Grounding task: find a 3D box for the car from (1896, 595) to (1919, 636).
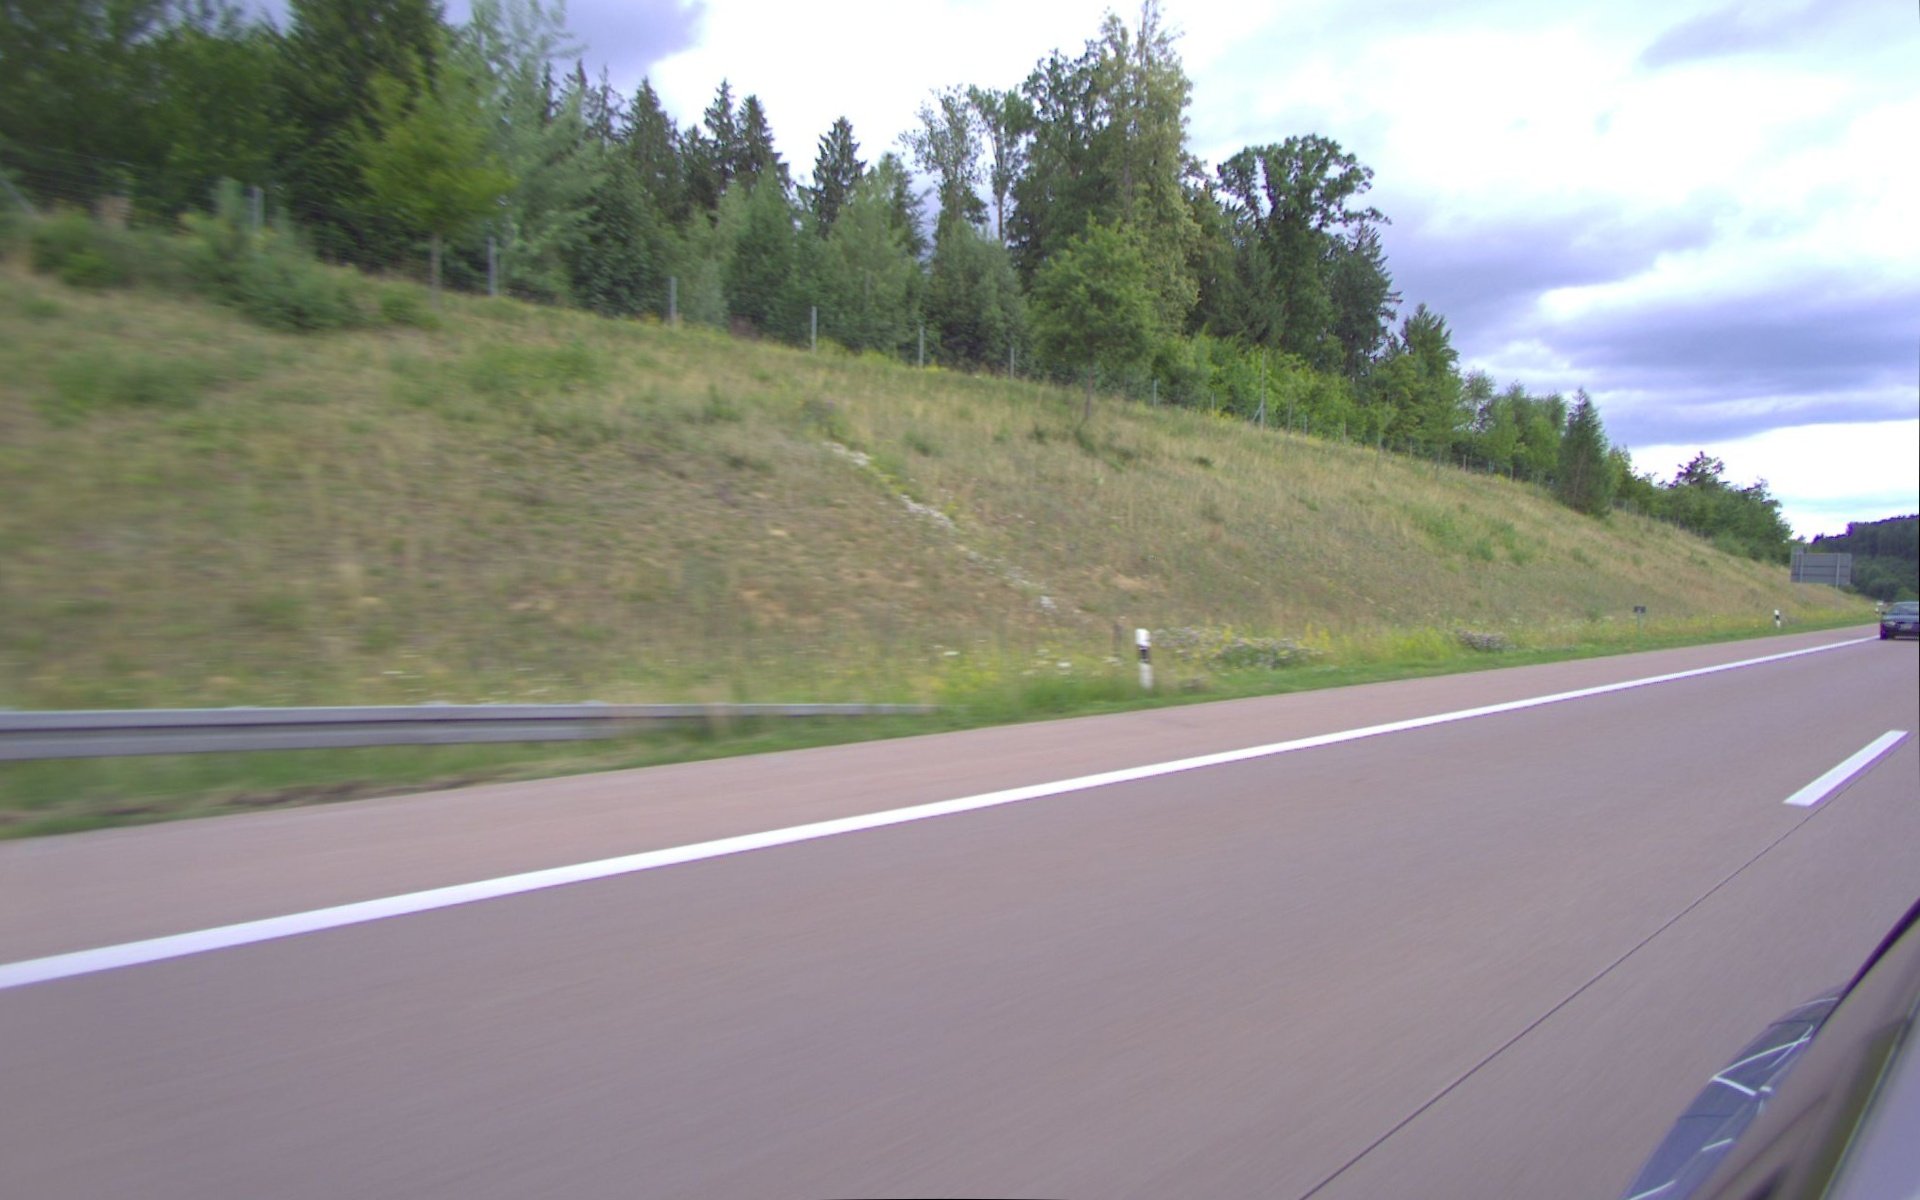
[{"bbox_3d":[36.500,0.564,37.978,4.161,1.420,1.674,-1,2,-42],"label":"car"}]
